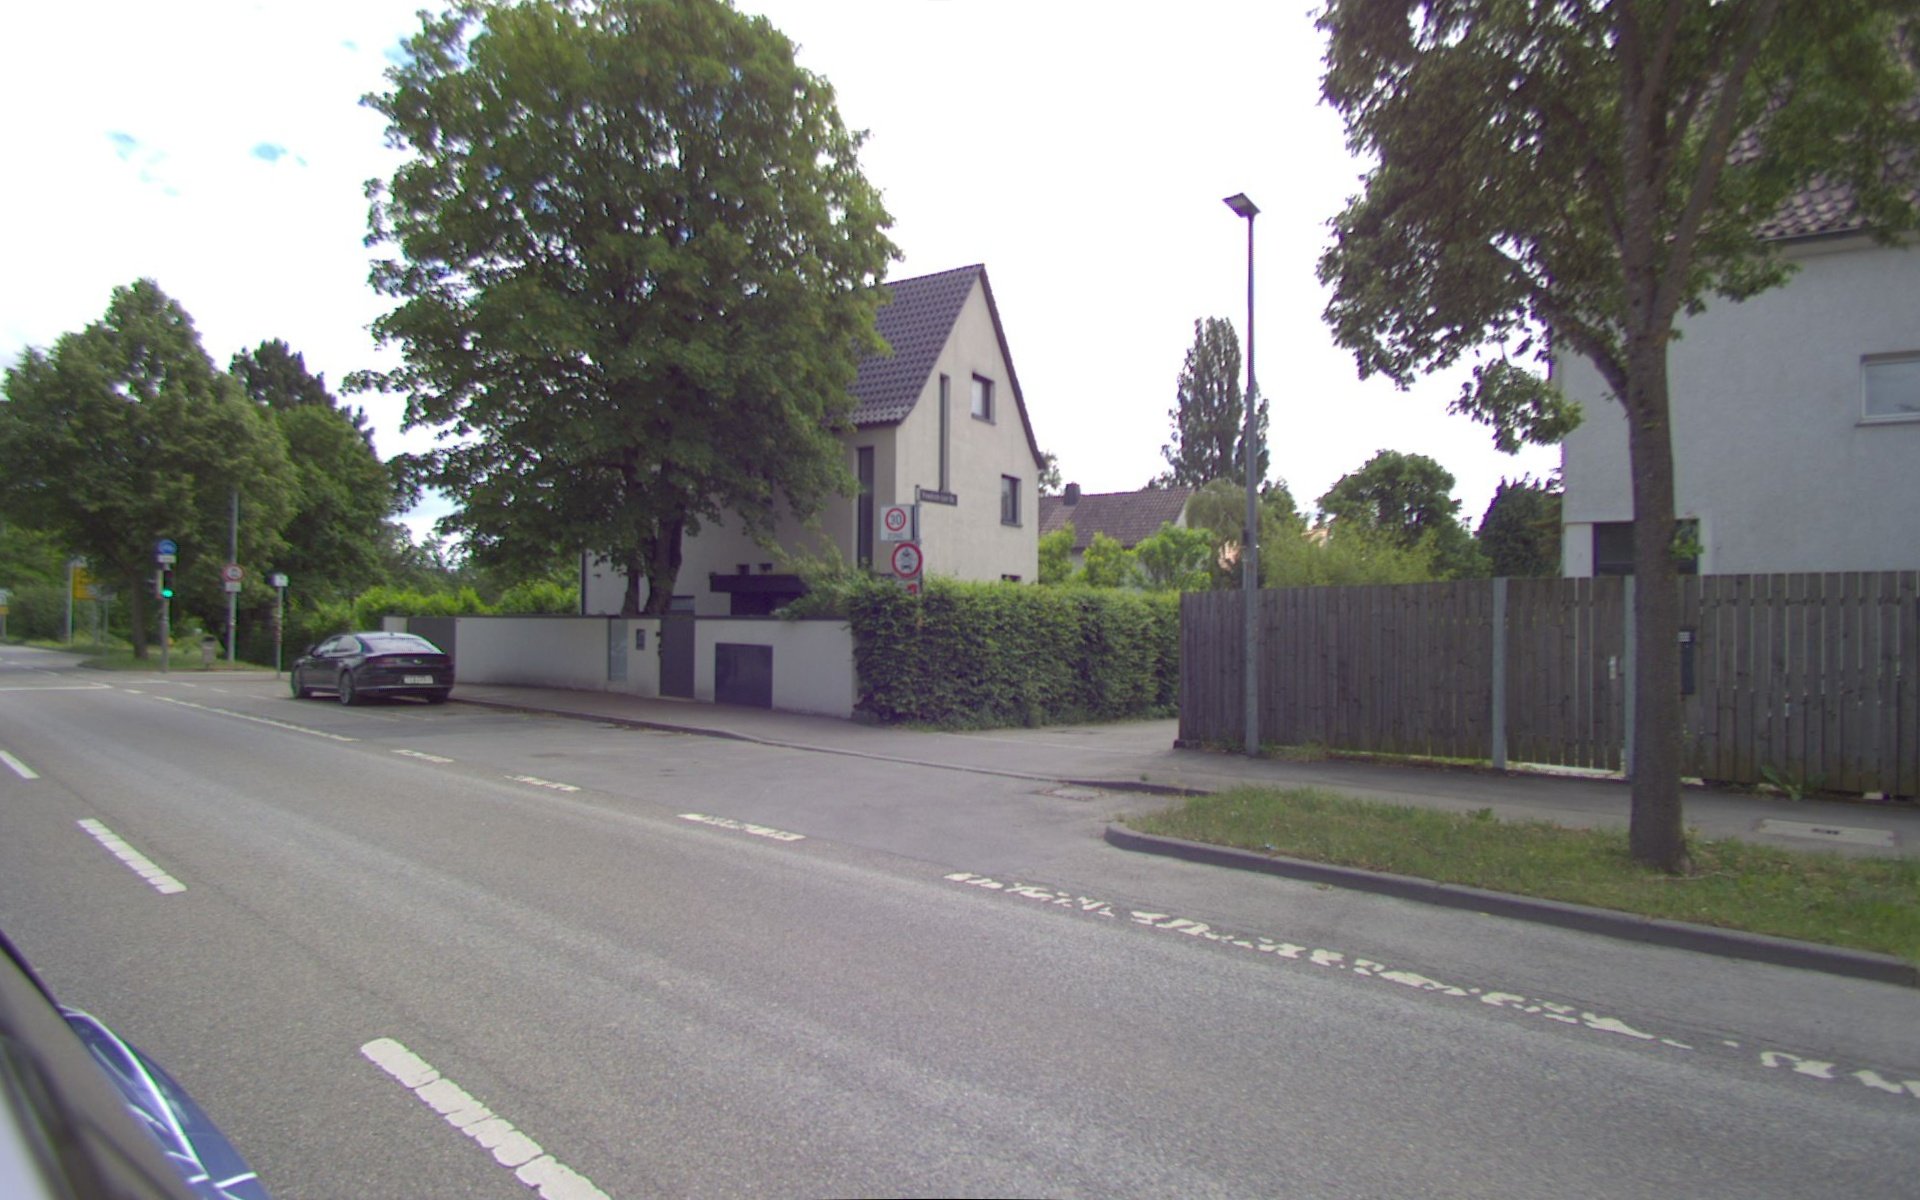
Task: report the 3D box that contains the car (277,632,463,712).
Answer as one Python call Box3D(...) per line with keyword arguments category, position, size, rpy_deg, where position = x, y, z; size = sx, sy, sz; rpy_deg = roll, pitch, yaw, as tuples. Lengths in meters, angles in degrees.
Box3D(category="car", position=(-12.112, 1.403, 20.624), size=(4.924, 1.419, 1.728), rpy_deg=(-1, -4, 41))
